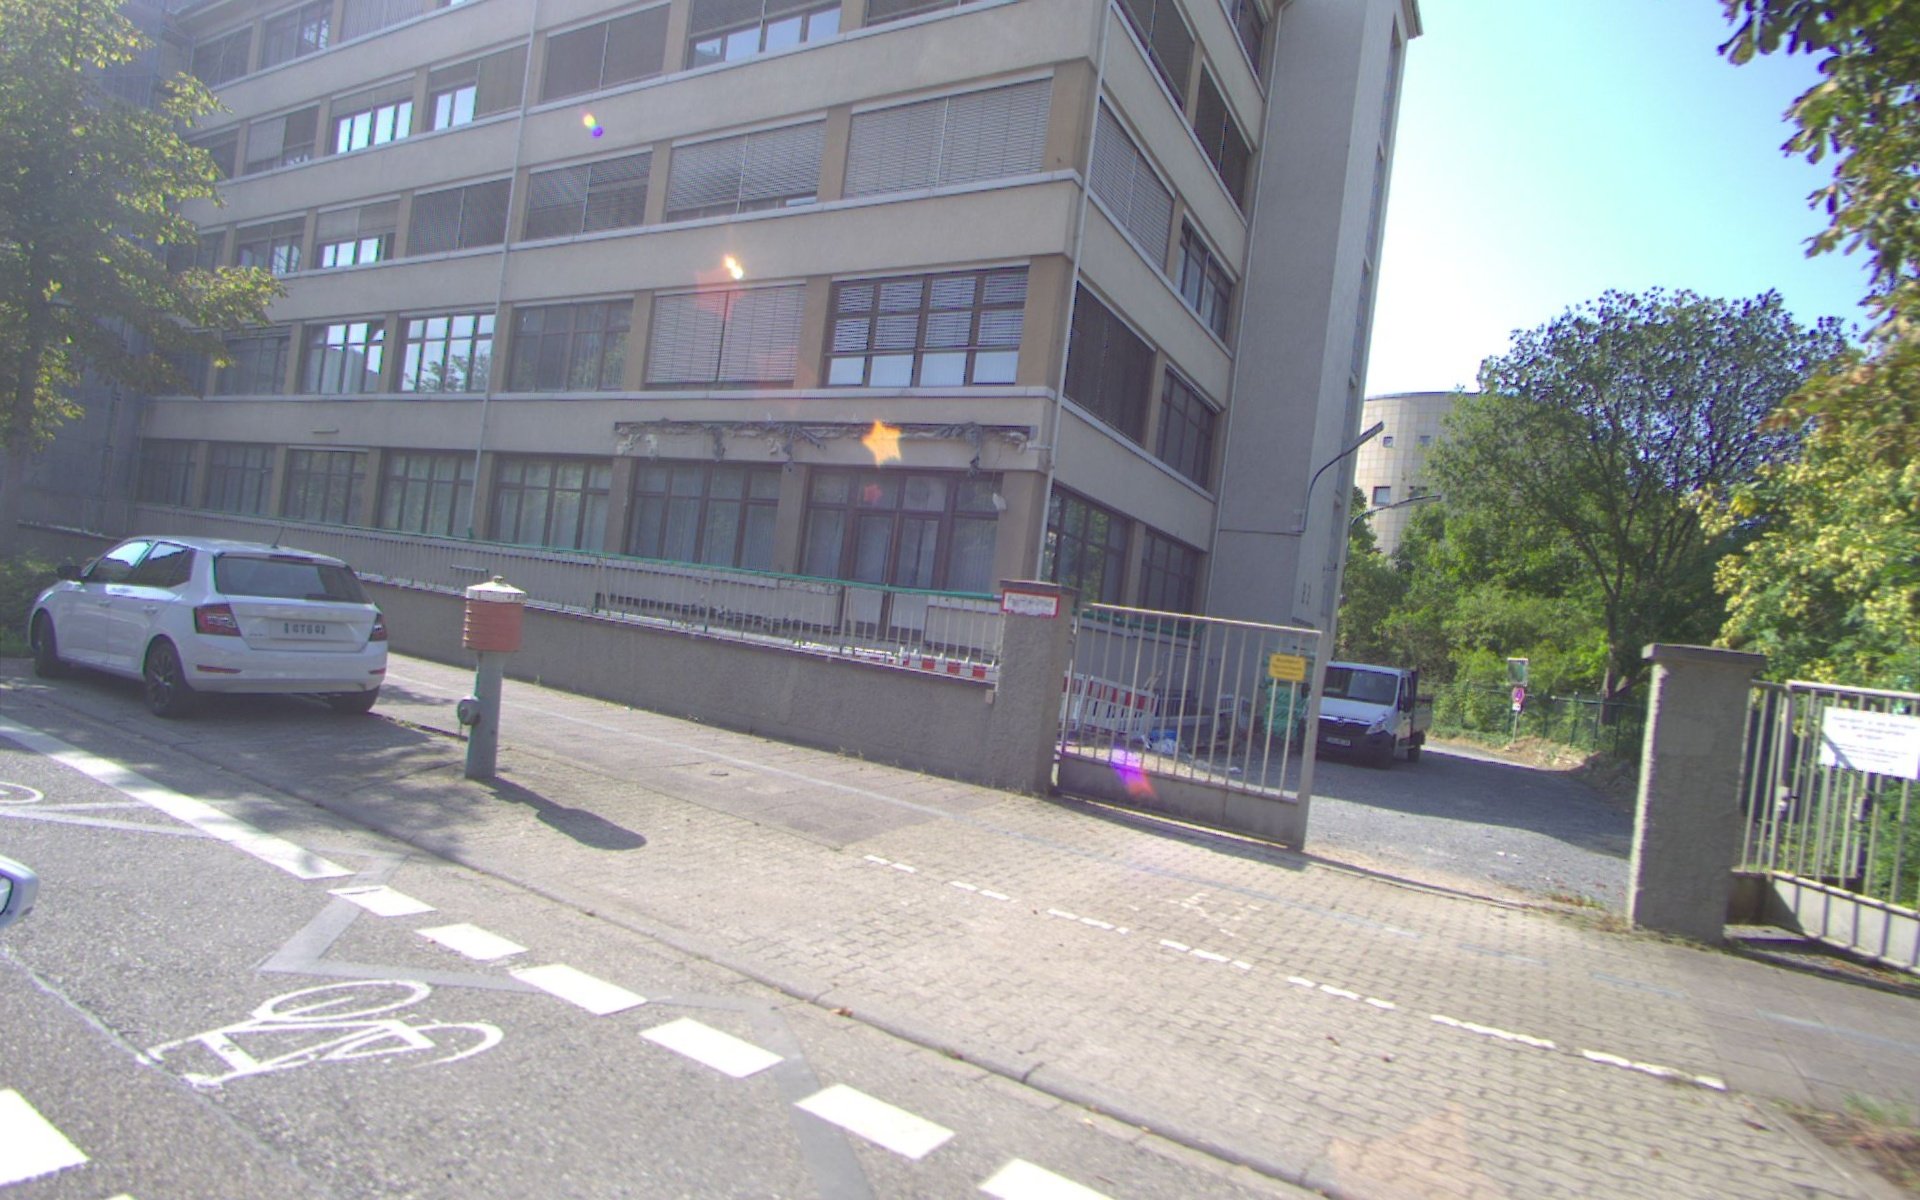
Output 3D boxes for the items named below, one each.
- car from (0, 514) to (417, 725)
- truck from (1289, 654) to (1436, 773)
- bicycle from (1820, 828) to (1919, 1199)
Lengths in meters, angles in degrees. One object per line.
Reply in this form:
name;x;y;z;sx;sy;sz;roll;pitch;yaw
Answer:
car;-7.144;0.126;9.455;3.921;1.447;1.643;6;-1;29
truck;9.851;2.691;24.222;2.086;2.241;6.579;6;-2;31
bicycle;3.523;1.457;3.168;0.782;1.077;1.771;6;0;29
